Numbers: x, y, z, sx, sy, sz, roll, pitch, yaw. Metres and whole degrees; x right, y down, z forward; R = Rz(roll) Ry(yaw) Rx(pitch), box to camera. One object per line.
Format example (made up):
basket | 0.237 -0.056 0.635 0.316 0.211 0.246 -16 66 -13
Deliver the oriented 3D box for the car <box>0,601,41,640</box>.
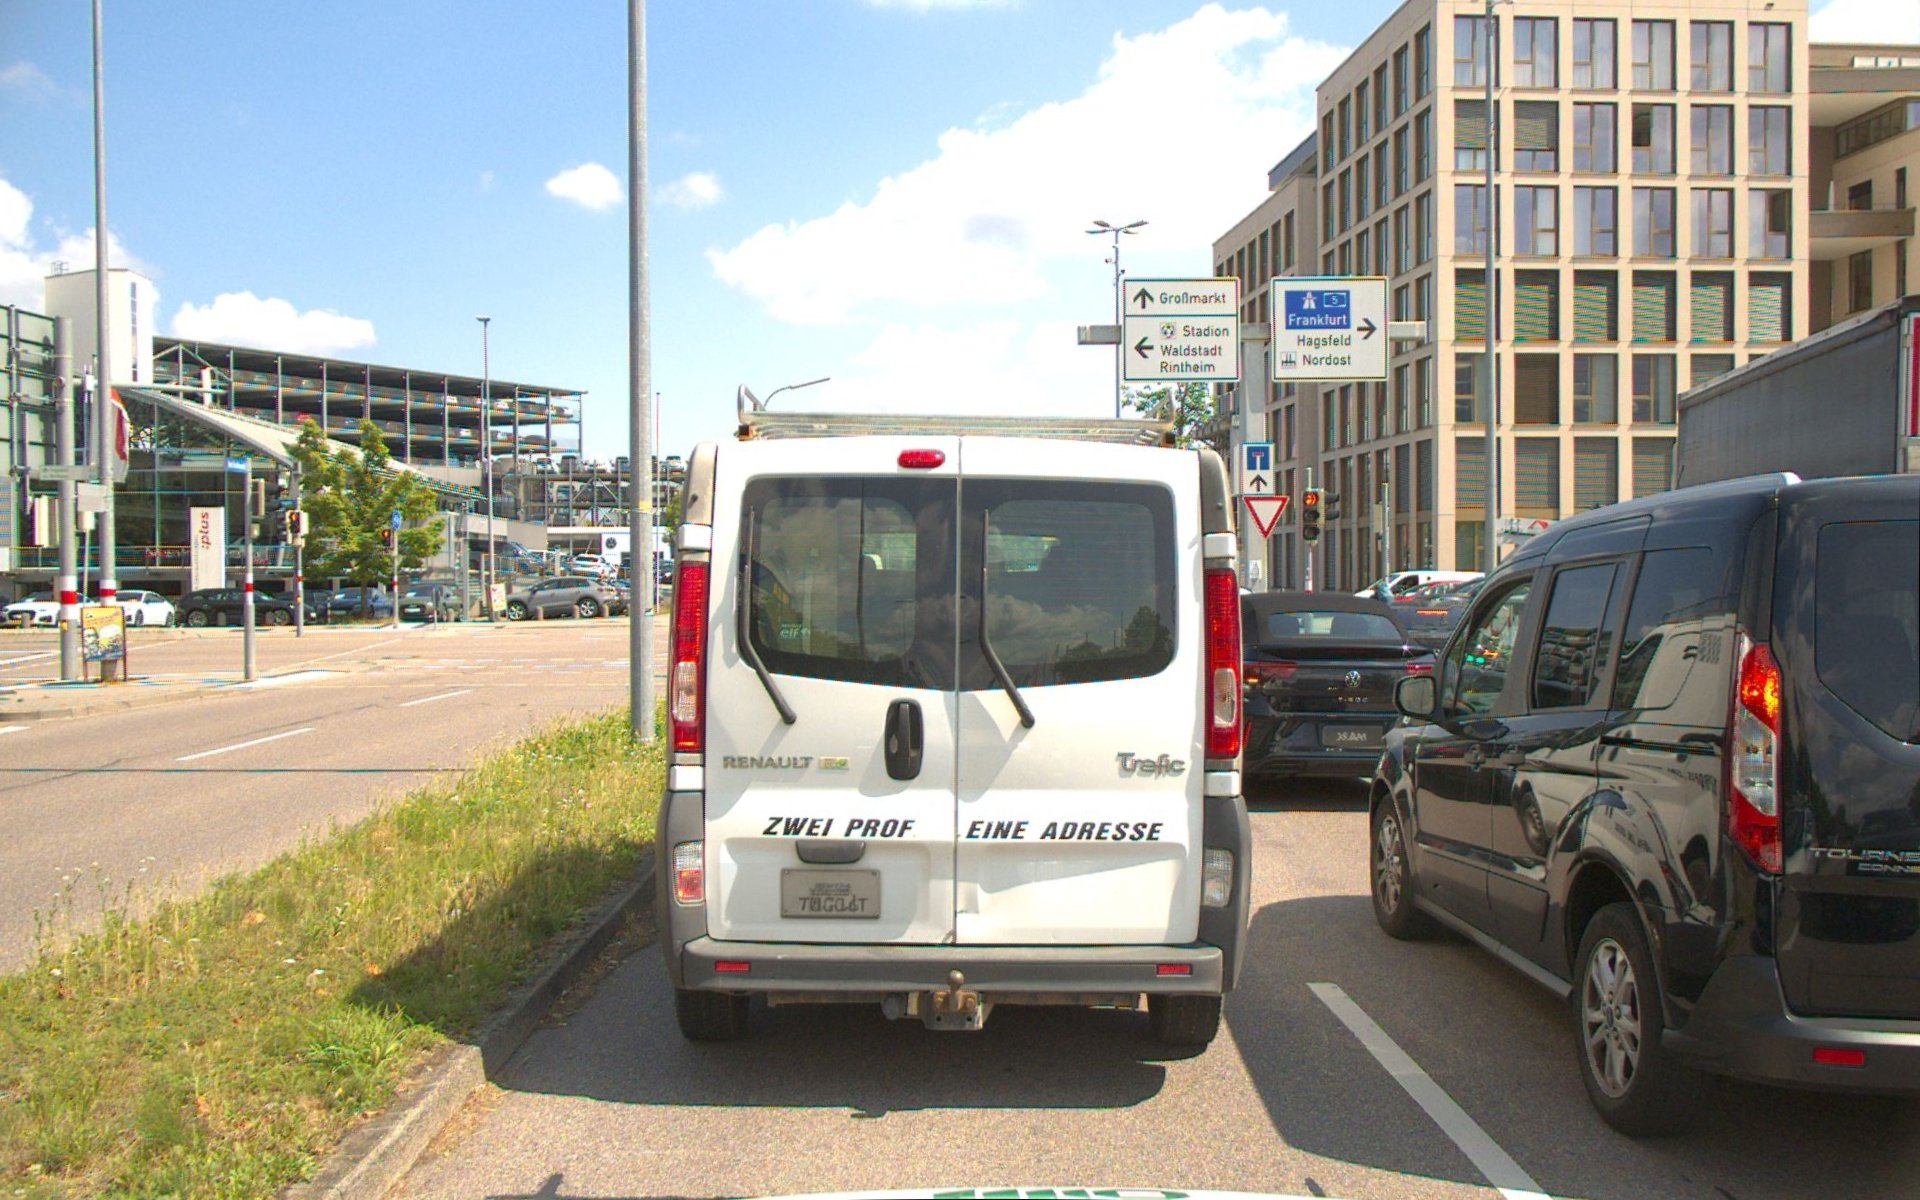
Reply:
car | -34.364 0.702 58.155 1.864 1.320 4.585 1 0 -5

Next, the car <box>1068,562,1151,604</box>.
car | 7.743 -0.864 85.730 3.913 2.049 1.996 1 0 -9

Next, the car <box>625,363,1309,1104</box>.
car | -0.008 0.370 6.981 1.933 2.096 4.564 0 0 -1

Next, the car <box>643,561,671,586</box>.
car | -19.898 -1.728 108.722 1.531 1.579 3.598 1 0 -6

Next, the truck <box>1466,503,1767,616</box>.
truck | 22.498 -1.334 56.810 9.568 3.617 2.670 1 0 -8

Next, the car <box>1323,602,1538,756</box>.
car | 5.790 1.087 20.864 1.820 1.685 4.220 1 -6 5

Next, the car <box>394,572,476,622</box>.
car | -18.944 -0.095 59.888 1.864 1.707 4.585 1 0 -5

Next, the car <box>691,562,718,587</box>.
car | -16.702 -1.643 108.307 1.531 1.579 3.598 0 0 -6

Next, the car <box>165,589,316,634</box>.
car | -25.833 0.417 59.518 4.649 1.490 1.793 -1 -3 -6

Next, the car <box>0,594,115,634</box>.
car | -31.856 0.473 58.496 1.864 1.320 4.585 1 0 -5

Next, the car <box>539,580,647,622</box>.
car | -16.680 0.030 75.258 4.484 1.707 1.906 -2 2 -4

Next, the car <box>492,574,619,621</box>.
car | -15.727 -0.081 64.477 4.484 1.707 1.906 1 0 -4

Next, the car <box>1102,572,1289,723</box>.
car | 2.767 0.511 20.250 1.737 1.658 4.000 0 0 0

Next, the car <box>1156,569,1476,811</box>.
car | 2.688 0.608 13.385 1.737 1.658 4.000 0 0 0

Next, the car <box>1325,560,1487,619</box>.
car | 15.047 -0.325 55.905 4.883 1.870 1.996 1 0 -8

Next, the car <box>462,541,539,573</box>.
car | -28.660 -2.667 103.164 4.356 1.833 1.762 1 0 -7

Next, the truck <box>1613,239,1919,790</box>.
truck | 9.262 -0.587 16.564 3.143 4.098 9.078 1 0 9

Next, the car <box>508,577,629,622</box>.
car | -15.825 -0.012 67.075 4.484 1.707 1.906 1 0 -4

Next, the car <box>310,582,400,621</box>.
car | -21.764 0.055 59.676 1.864 1.320 4.585 1 0 -5

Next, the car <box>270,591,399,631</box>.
car | -26.050 0.453 69.043 4.649 1.537 1.982 -1 -2 -6

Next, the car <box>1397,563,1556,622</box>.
car | 15.351 -0.203 49.237 4.119 1.655 1.825 1 0 -8

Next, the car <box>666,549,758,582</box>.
car | -17.301 -2.404 115.732 6.264 2.139 1.763 1 0 -6

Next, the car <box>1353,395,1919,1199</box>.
car | 2.751 0.487 5.844 1.786 1.938 4.000 0 0 0

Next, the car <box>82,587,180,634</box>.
car | -29.395 0.390 58.764 1.755 1.490 3.995 -1 -2 -5
